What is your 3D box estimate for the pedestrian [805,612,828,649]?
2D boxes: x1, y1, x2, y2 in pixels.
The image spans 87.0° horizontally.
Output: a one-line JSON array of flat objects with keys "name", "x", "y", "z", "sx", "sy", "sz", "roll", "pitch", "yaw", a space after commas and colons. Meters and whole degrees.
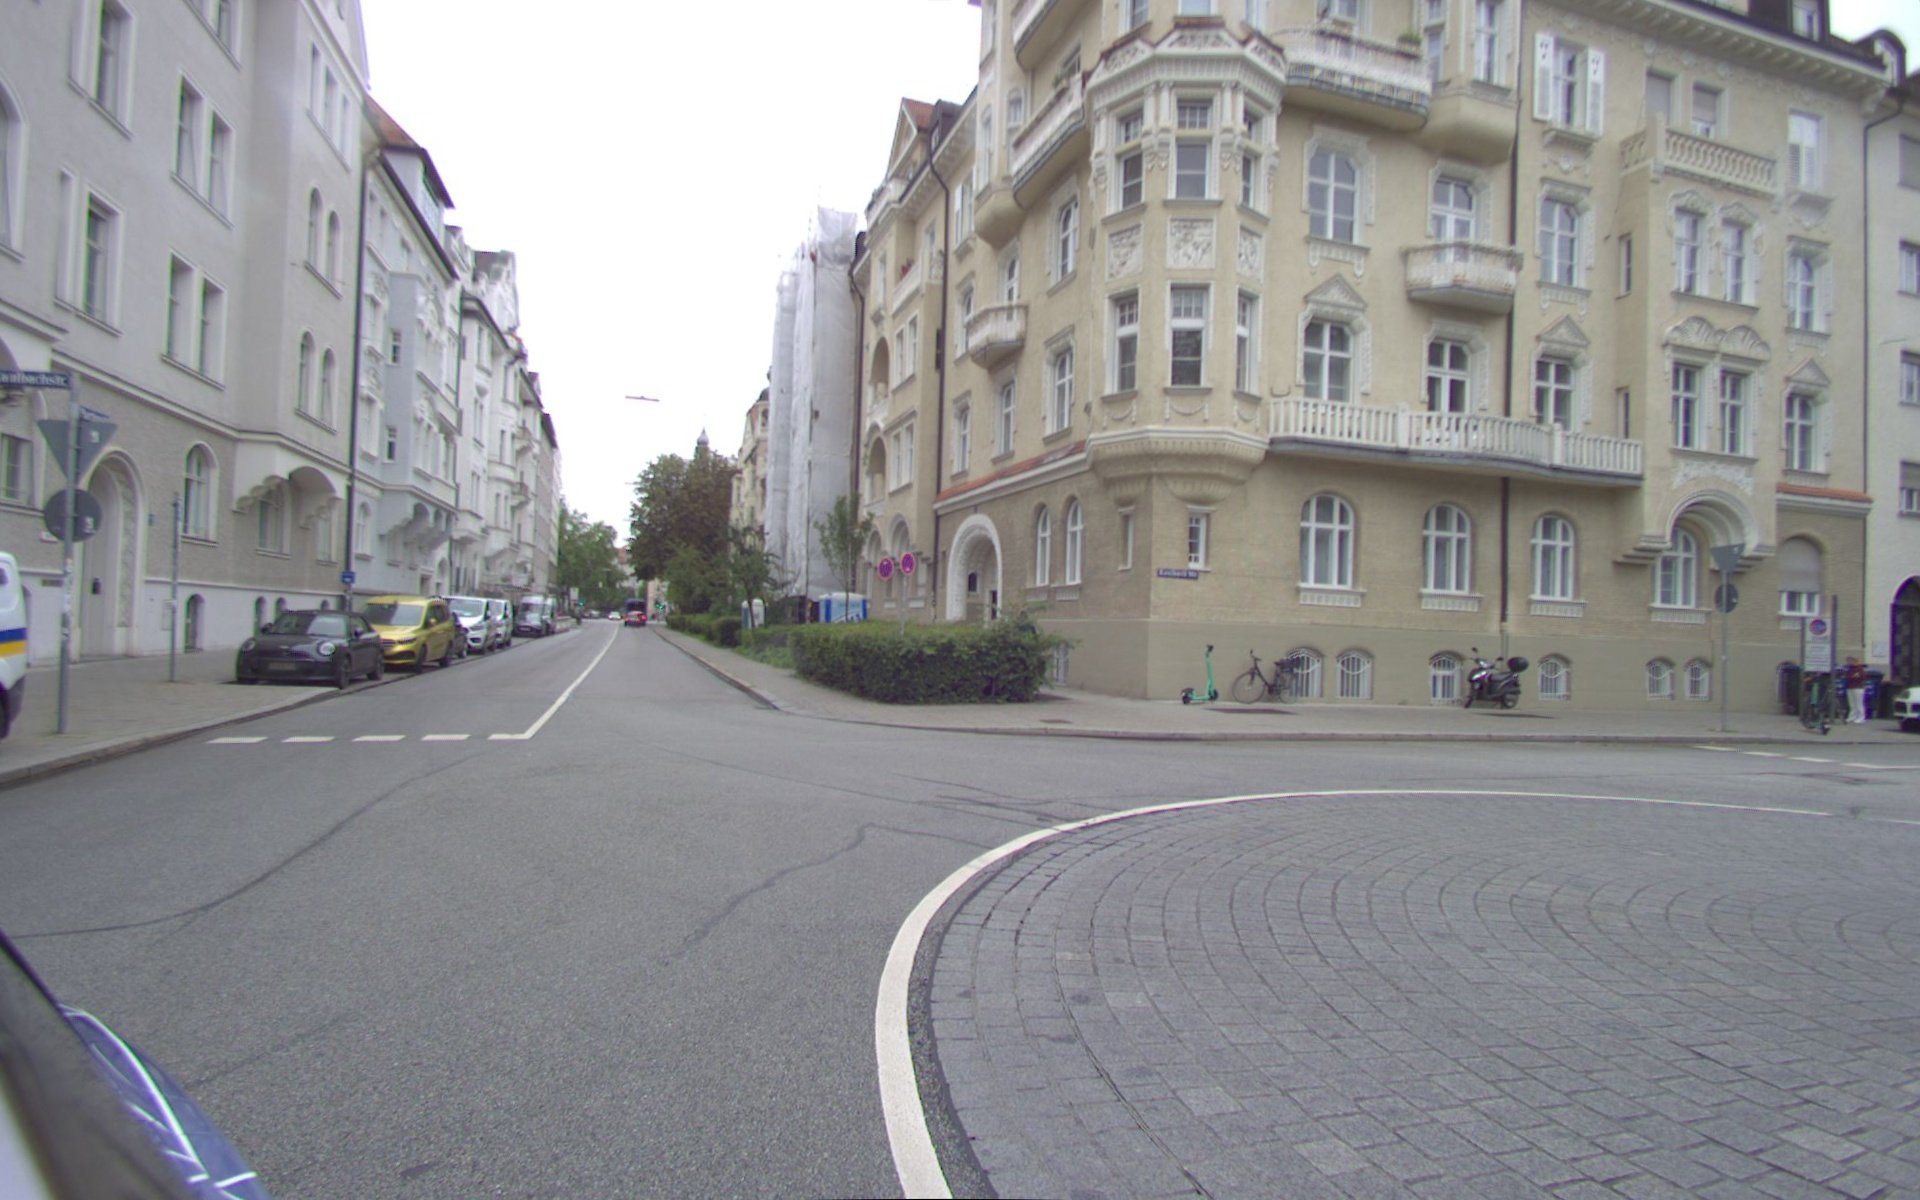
[{"name": "pedestrian", "x": -7.083, "y": 1.499, "z": 49.977, "sx": 0.901, "sy": 1.764, "sz": 0.951, "roll": 3, "pitch": -2, "yaw": -18}]

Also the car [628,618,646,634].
[{"name": "car", "x": -36.343, "y": 2.940, "z": 113.852, "sx": 1.743, "sy": 1.657, "sz": 4.287, "roll": 3, "pitch": -2, "yaw": -18}]

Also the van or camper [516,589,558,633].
[{"name": "van or camper", "x": -27.210, "y": 0.728, "z": 65.196, "sx": 1.926, "sy": 2.657, "sz": 5.475, "roll": 2, "pitch": -1, "yaw": -18}]

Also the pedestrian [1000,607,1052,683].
[{"name": "pedestrian", "x": 1.627, "y": 1.102, "z": 25.076, "sx": 0.875, "sy": 1.824, "sz": 1.060, "roll": 3, "pitch": -2, "yaw": -21}]

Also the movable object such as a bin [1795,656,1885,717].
[{"name": "movable object such as a bin", "x": 22.802, "y": 2.239, "z": 26.246, "sx": 1.143, "sy": 1.468, "sz": 1.349, "roll": 3, "pitch": -2, "yaw": -18}]

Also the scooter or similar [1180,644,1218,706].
[{"name": "scooter or similar", "x": 4.813, "y": 1.482, "z": 20.339, "sx": 0.526, "sy": 1.175, "sz": 1.346, "roll": 1, "pitch": -2, "yaw": 21}]

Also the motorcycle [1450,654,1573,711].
[{"name": "motorcycle", "x": 12.557, "y": 1.874, "z": 23.032, "sx": 2.519, "sy": 1.189, "sz": 1.010, "roll": 3, "pitch": -2, "yaw": -19}]

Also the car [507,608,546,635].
[{"name": "car", "x": -25.332, "y": 1.244, "z": 59.261, "sx": 1.729, "sy": 1.445, "sz": 4.100, "roll": 3, "pitch": -1, "yaw": -19}]

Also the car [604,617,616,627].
[{"name": "car", "x": -62.496, "y": 3.959, "z": 180.915, "sx": 1.895, "sy": 1.630, "sz": 4.012, "roll": 2, "pitch": -1, "yaw": -17}]

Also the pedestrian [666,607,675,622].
[{"name": "pedestrian", "x": -38.999, "y": 1.980, "z": 136.163, "sx": 0.777, "sy": 2.029, "sz": 0.822, "roll": 1, "pitch": -1, "yaw": 29}]

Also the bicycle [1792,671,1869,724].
[{"name": "bicycle", "x": 20.331, "y": 2.276, "z": 23.644, "sx": 1.813, "sy": 1.158, "sz": 0.552, "roll": 3, "pitch": -2, "yaw": -20}]

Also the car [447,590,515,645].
[{"name": "car", "x": -19.570, "y": 0.705, "z": 41.535, "sx": 1.932, "sy": 2.029, "sz": 5.009, "roll": 3, "pitch": -2, "yaw": -20}]

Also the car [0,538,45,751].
[{"name": "car", "x": -9.155, "y": 0.339, "z": 7.293, "sx": 1.889, "sy": 1.977, "sz": 4.942, "roll": 4, "pitch": -2, "yaw": -19}]

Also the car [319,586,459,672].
[{"name": "car", "x": -14.002, "y": 0.700, "z": 25.134, "sx": 1.825, "sy": 1.867, "sz": 4.834, "roll": 2, "pitch": -2, "yaw": -15}]

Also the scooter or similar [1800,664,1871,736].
[{"name": "scooter or similar", "x": 18.297, "y": 2.066, "z": 21.177, "sx": 0.704, "sy": 1.405, "sz": 1.346, "roll": 1, "pitch": -2, "yaw": 21}]

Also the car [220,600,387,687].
[{"name": "car", "x": -12.602, "y": 0.804, "z": 19.694, "sx": 1.641, "sy": 1.468, "sz": 3.908, "roll": 2, "pitch": -2, "yaw": -17}]

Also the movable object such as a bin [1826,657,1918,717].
[{"name": "movable object such as a bin", "x": 24.015, "y": 2.276, "z": 26.670, "sx": 1.274, "sy": 1.468, "sz": 1.349, "roll": 3, "pitch": -2, "yaw": -18}]

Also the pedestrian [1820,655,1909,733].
[{"name": "pedestrian", "x": 22.188, "y": 2.286, "z": 24.841, "sx": 1.249, "sy": 1.818, "sz": 1.136, "roll": 3, "pitch": -2, "yaw": -18}]

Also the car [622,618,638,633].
[{"name": "car", "x": -35.163, "y": 2.724, "z": 107.753, "sx": 1.562, "sy": 1.490, "sz": 3.794, "roll": 3, "pitch": -2, "yaw": -18}]

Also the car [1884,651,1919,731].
[{"name": "car", "x": 23.195, "y": 2.073, "z": 22.424, "sx": 4.727, "sy": 1.704, "sz": 2.006, "roll": 2, "pitch": -1, "yaw": -19}]

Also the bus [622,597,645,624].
[{"name": "bus", "x": -40.182, "y": 1.280, "z": 124.599, "sx": 2.544, "sy": 3.124, "sz": 8.950, "roll": 3, "pitch": -2, "yaw": -18}]

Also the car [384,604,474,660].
[{"name": "car", "x": -15.638, "y": 0.919, "z": 29.972, "sx": 1.609, "sy": 1.495, "sz": 3.794, "roll": 3, "pitch": -1, "yaw": -17}]

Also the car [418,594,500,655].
[{"name": "car", "x": -17.536, "y": 0.845, "z": 35.631, "sx": 1.932, "sy": 1.952, "sz": 5.009, "roll": 3, "pitch": -2, "yaw": -20}]

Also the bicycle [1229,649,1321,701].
[{"name": "bicycle", "x": 6.706, "y": 1.600, "z": 21.521, "sx": 1.850, "sy": 1.030, "sz": 0.562, "roll": 3, "pitch": -2, "yaw": -18}]

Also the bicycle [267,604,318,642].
[{"name": "bicycle", "x": -20.456, "y": 0.698, "z": 31.048, "sx": 0.685, "sy": 1.102, "sz": 2.043, "roll": 5, "pitch": -2, "yaw": -17}]
